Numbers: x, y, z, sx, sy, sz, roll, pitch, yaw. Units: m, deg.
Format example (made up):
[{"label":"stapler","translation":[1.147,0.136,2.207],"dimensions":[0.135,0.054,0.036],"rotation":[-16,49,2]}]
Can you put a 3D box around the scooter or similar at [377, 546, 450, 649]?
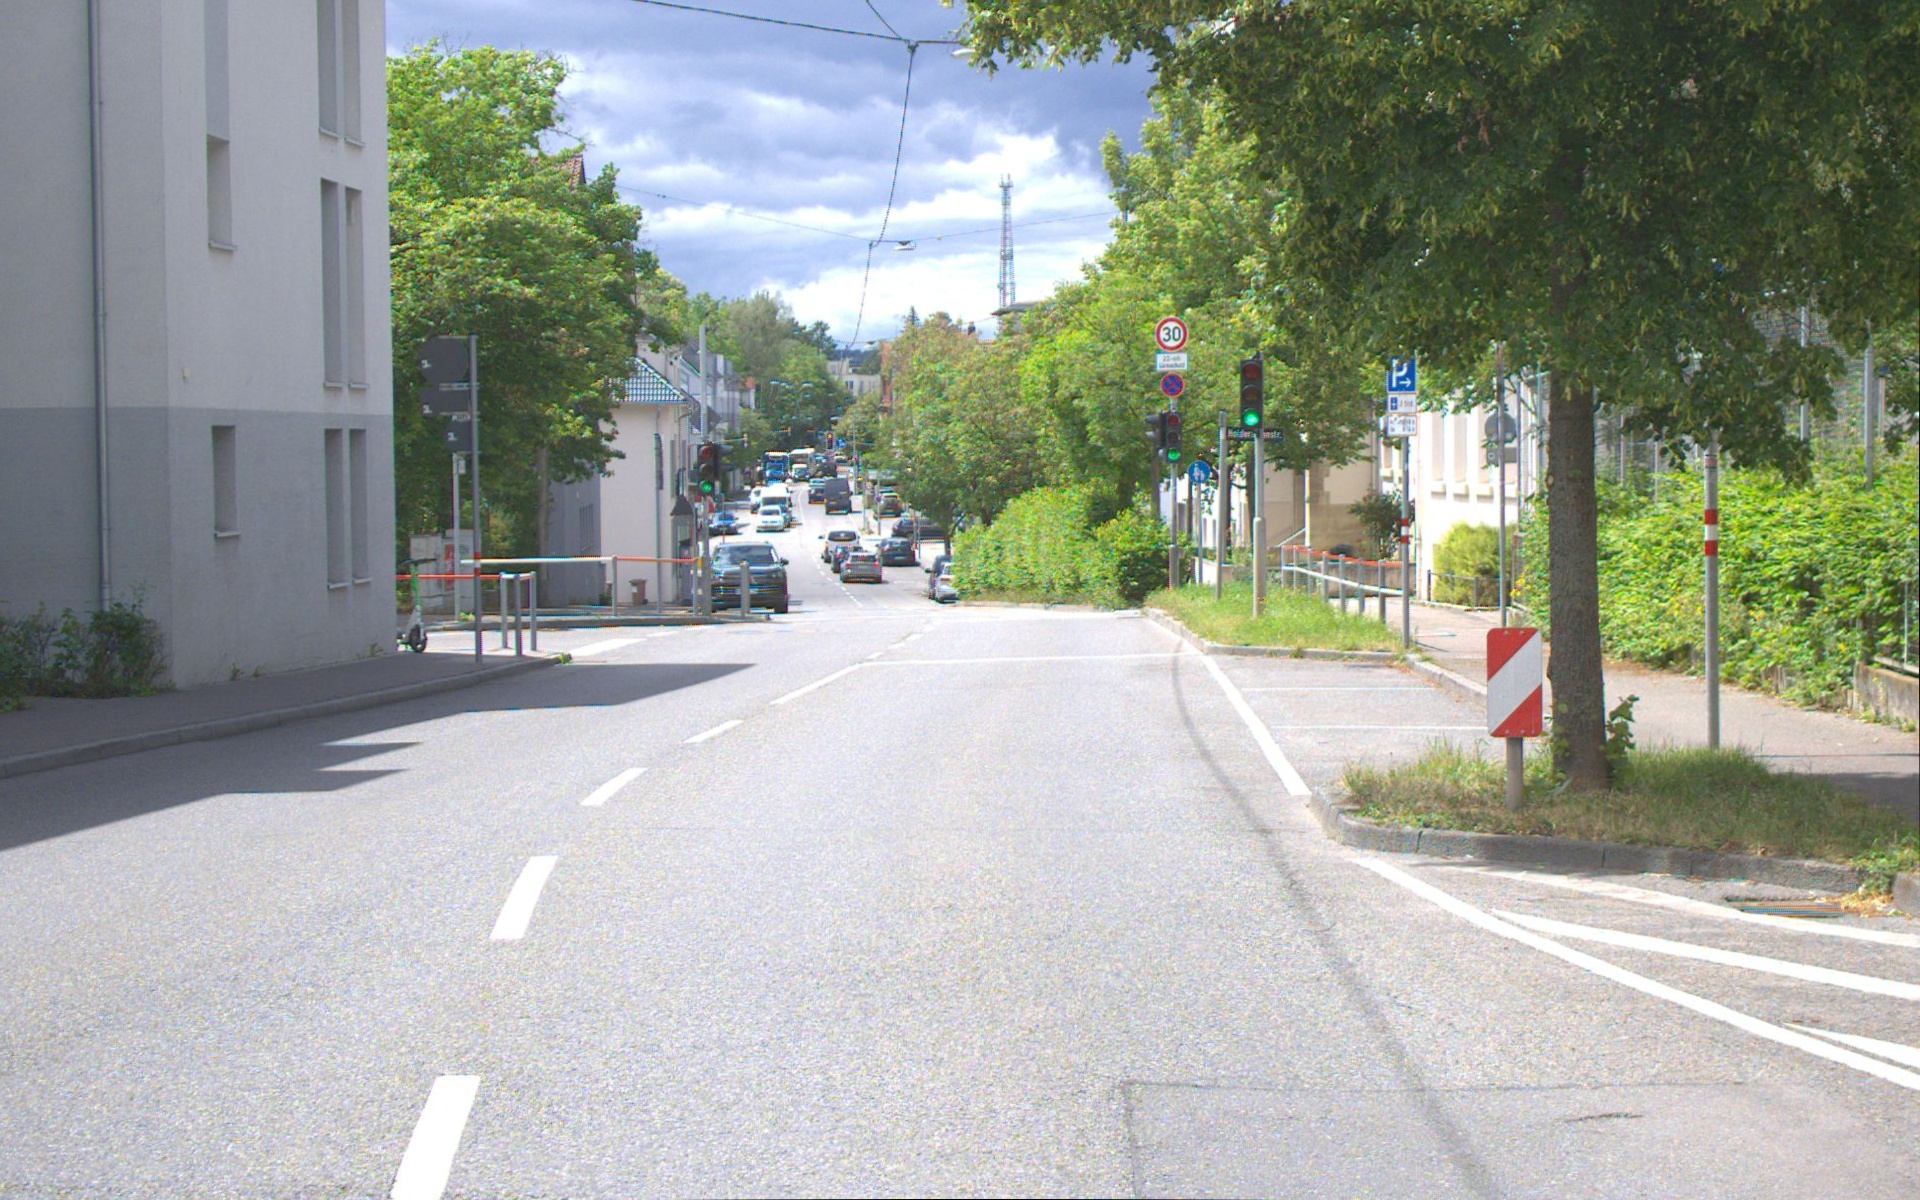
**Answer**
[{"label":"scooter or similar","translation":[-6.807,-0.038,42.789],"dimensions":[0.489,1.257,1.308],"rotation":[-1,1,-27]}]

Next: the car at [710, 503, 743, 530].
[{"label":"car","translation":[-15.115,-5.396,222.543],"dimensions":[1.873,1.634,4.000],"rotation":[1,1,-1]}]

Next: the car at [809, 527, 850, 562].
[{"label":"car","translation":[-6.964,-2.972,183.374],"dimensions":[1.836,1.855,3.851],"rotation":[0,1,-8]}]

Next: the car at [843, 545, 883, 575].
[{"label":"car","translation":[-4.641,-1.908,164.530],"dimensions":[1.744,1.412,4.001],"rotation":[0,1,-4]}]

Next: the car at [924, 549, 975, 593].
[{"label":"car","translation":[-0.439,-1.174,139.660],"dimensions":[1.844,1.761,4.515],"rotation":[0,1,-3]}]

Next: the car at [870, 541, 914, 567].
[{"label":"car","translation":[-3.579,-2.424,180.404],"dimensions":[1.752,1.366,4.001],"rotation":[-1,1,-9]}]

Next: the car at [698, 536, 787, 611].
[{"label":"car","translation":[-4.850,-0.628,77.184],"dimensions":[1.795,1.605,4.646],"rotation":[0,1,-1]}]

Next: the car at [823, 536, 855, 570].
[{"label":"car","translation":[-6.146,-2.380,174.285],"dimensions":[1.273,1.522,3.052],"rotation":[-1,4,-8]}]

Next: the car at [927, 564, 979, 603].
[{"label":"car","translation":[-0.292,-0.644,133.891],"dimensions":[1.786,1.504,4.365],"rotation":[0,1,-3]}]
